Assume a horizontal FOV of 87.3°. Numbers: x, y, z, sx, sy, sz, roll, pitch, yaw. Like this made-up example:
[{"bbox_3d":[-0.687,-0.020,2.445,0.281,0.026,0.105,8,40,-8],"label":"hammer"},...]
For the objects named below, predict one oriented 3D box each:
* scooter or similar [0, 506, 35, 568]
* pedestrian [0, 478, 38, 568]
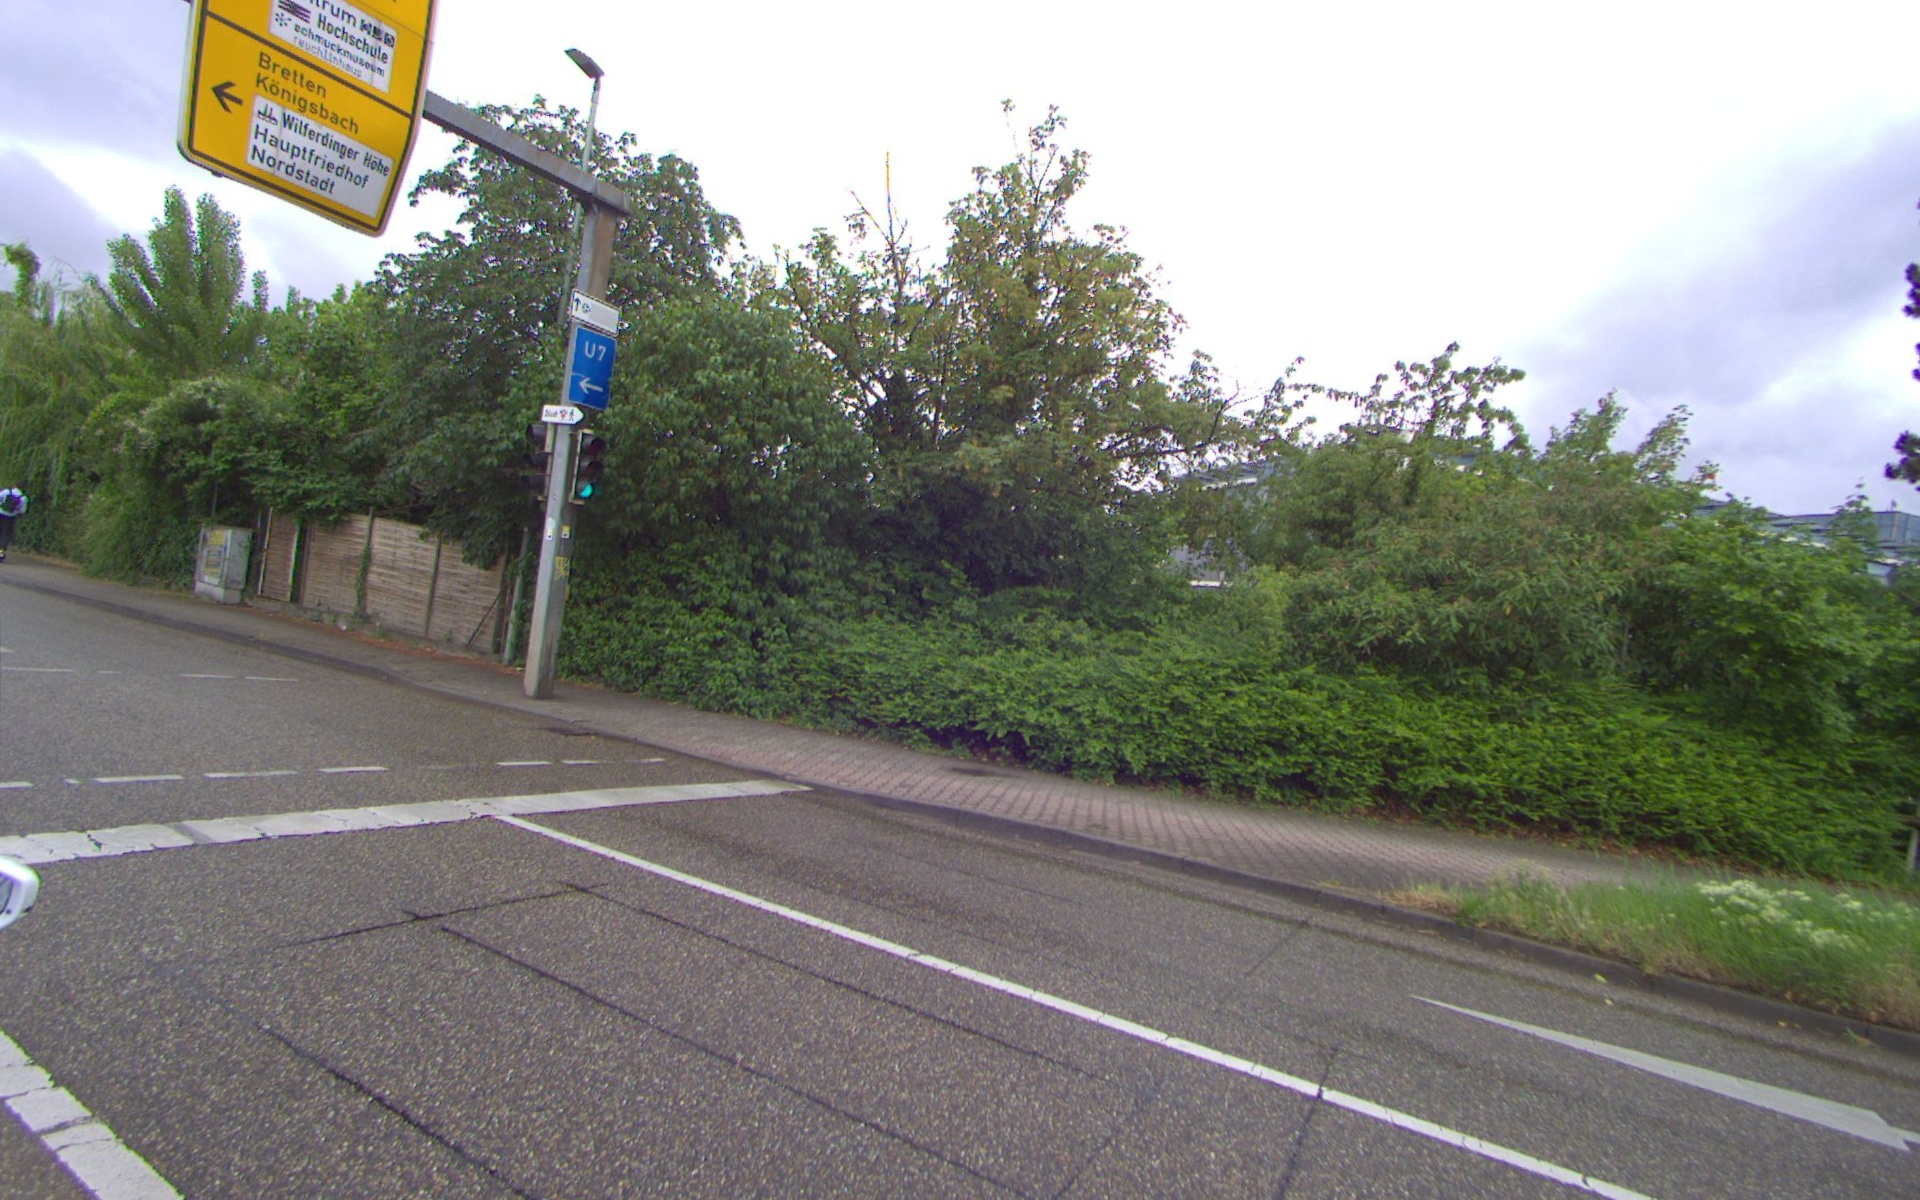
[{"bbox_3d":[-22.643,-1.516,23.896,1.361,1.378,0.462,7,0,28],"label":"scooter or similar"},{"bbox_3d":[-22.650,-1.845,23.955,0.705,2.026,0.657,7,0,28],"label":"pedestrian"}]
